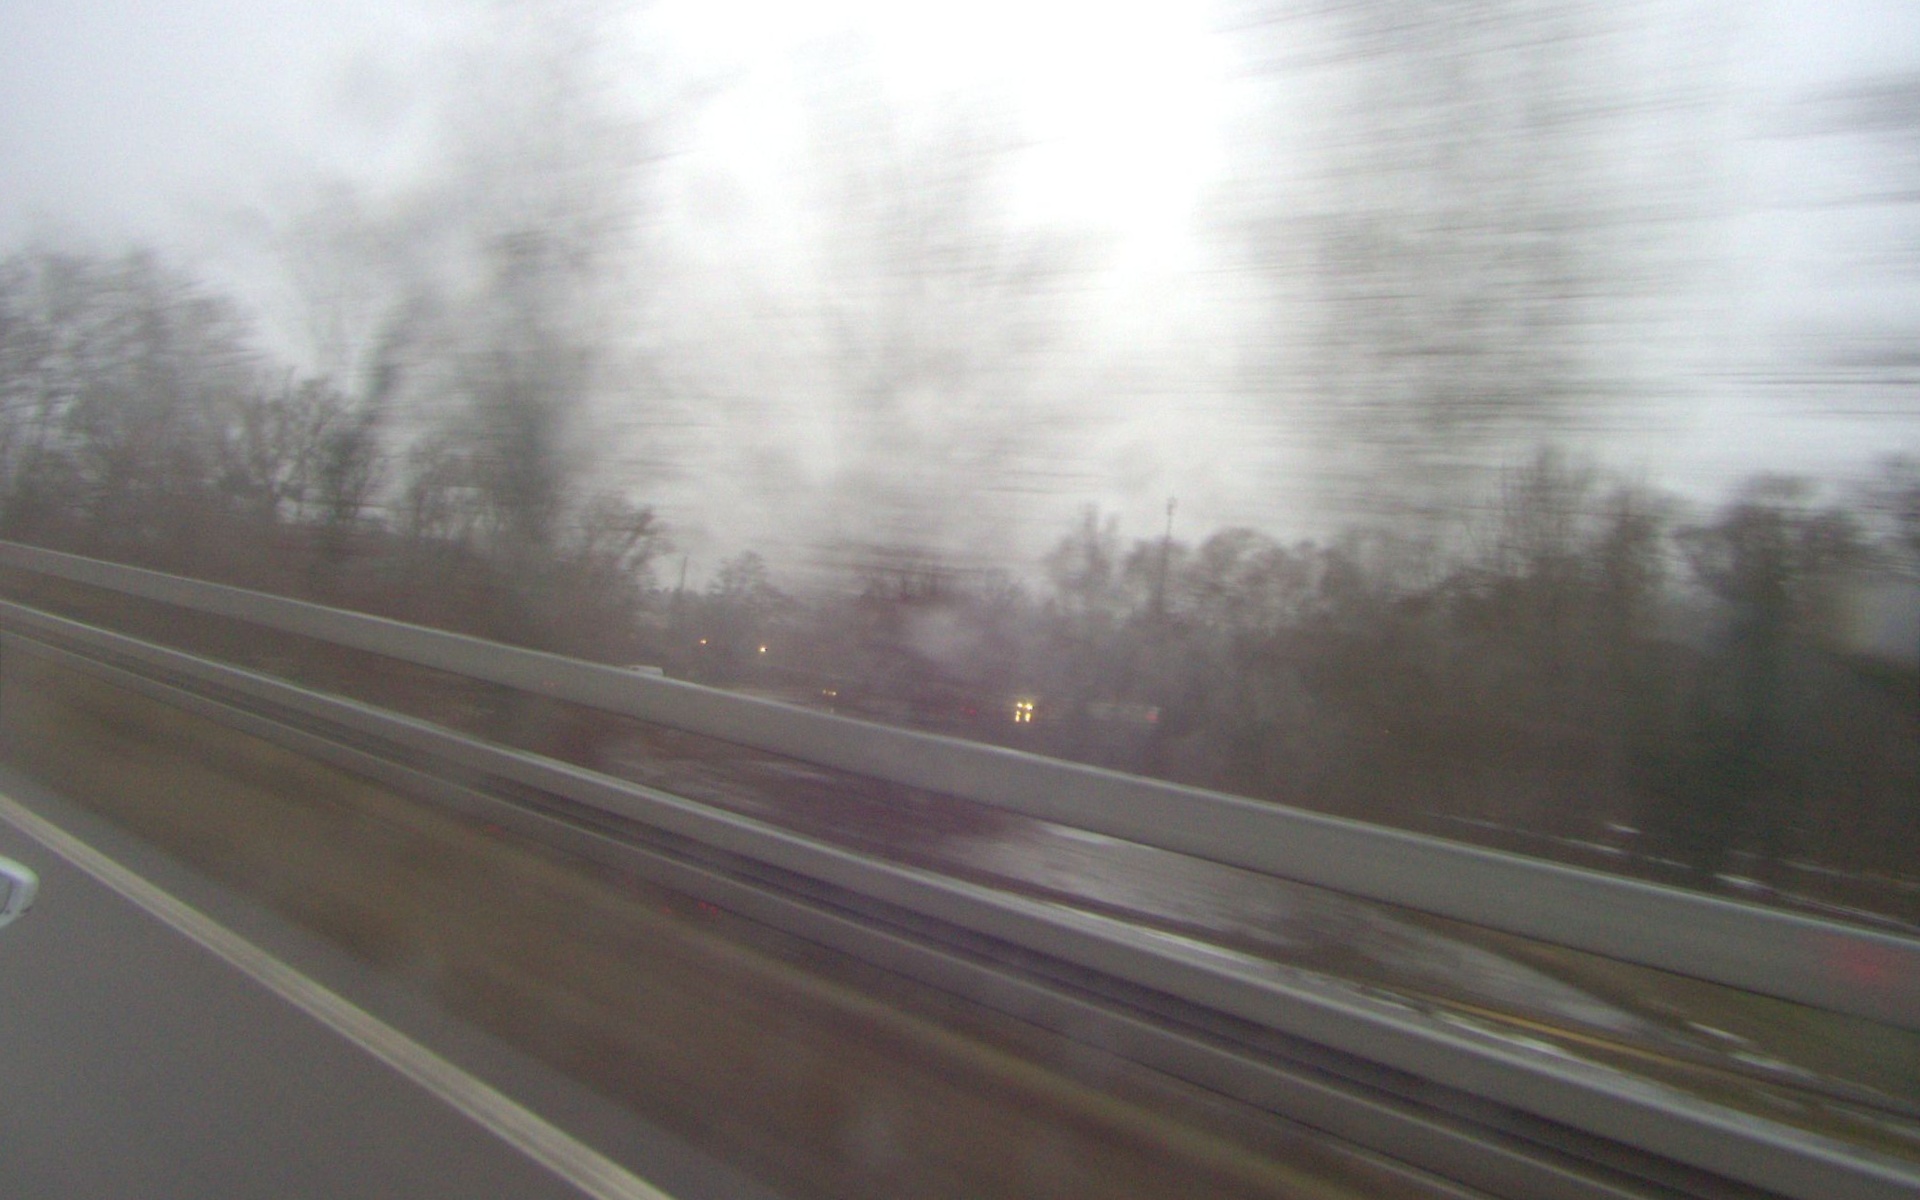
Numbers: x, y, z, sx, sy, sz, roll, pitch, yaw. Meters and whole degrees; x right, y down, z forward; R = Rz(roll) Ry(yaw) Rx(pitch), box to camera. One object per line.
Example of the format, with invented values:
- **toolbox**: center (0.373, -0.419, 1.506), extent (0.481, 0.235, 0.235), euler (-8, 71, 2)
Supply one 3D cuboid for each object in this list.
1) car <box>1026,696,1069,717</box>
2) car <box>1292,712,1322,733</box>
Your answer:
- **car**: center (10.851, 13.228, 124.406), extent (1.973, 2.036, 5.689), euler (6, -3, 42)
- **car**: center (61.898, 21.855, 179.376), extent (2.511, 3.423, 6.633), euler (6, -1, 40)
